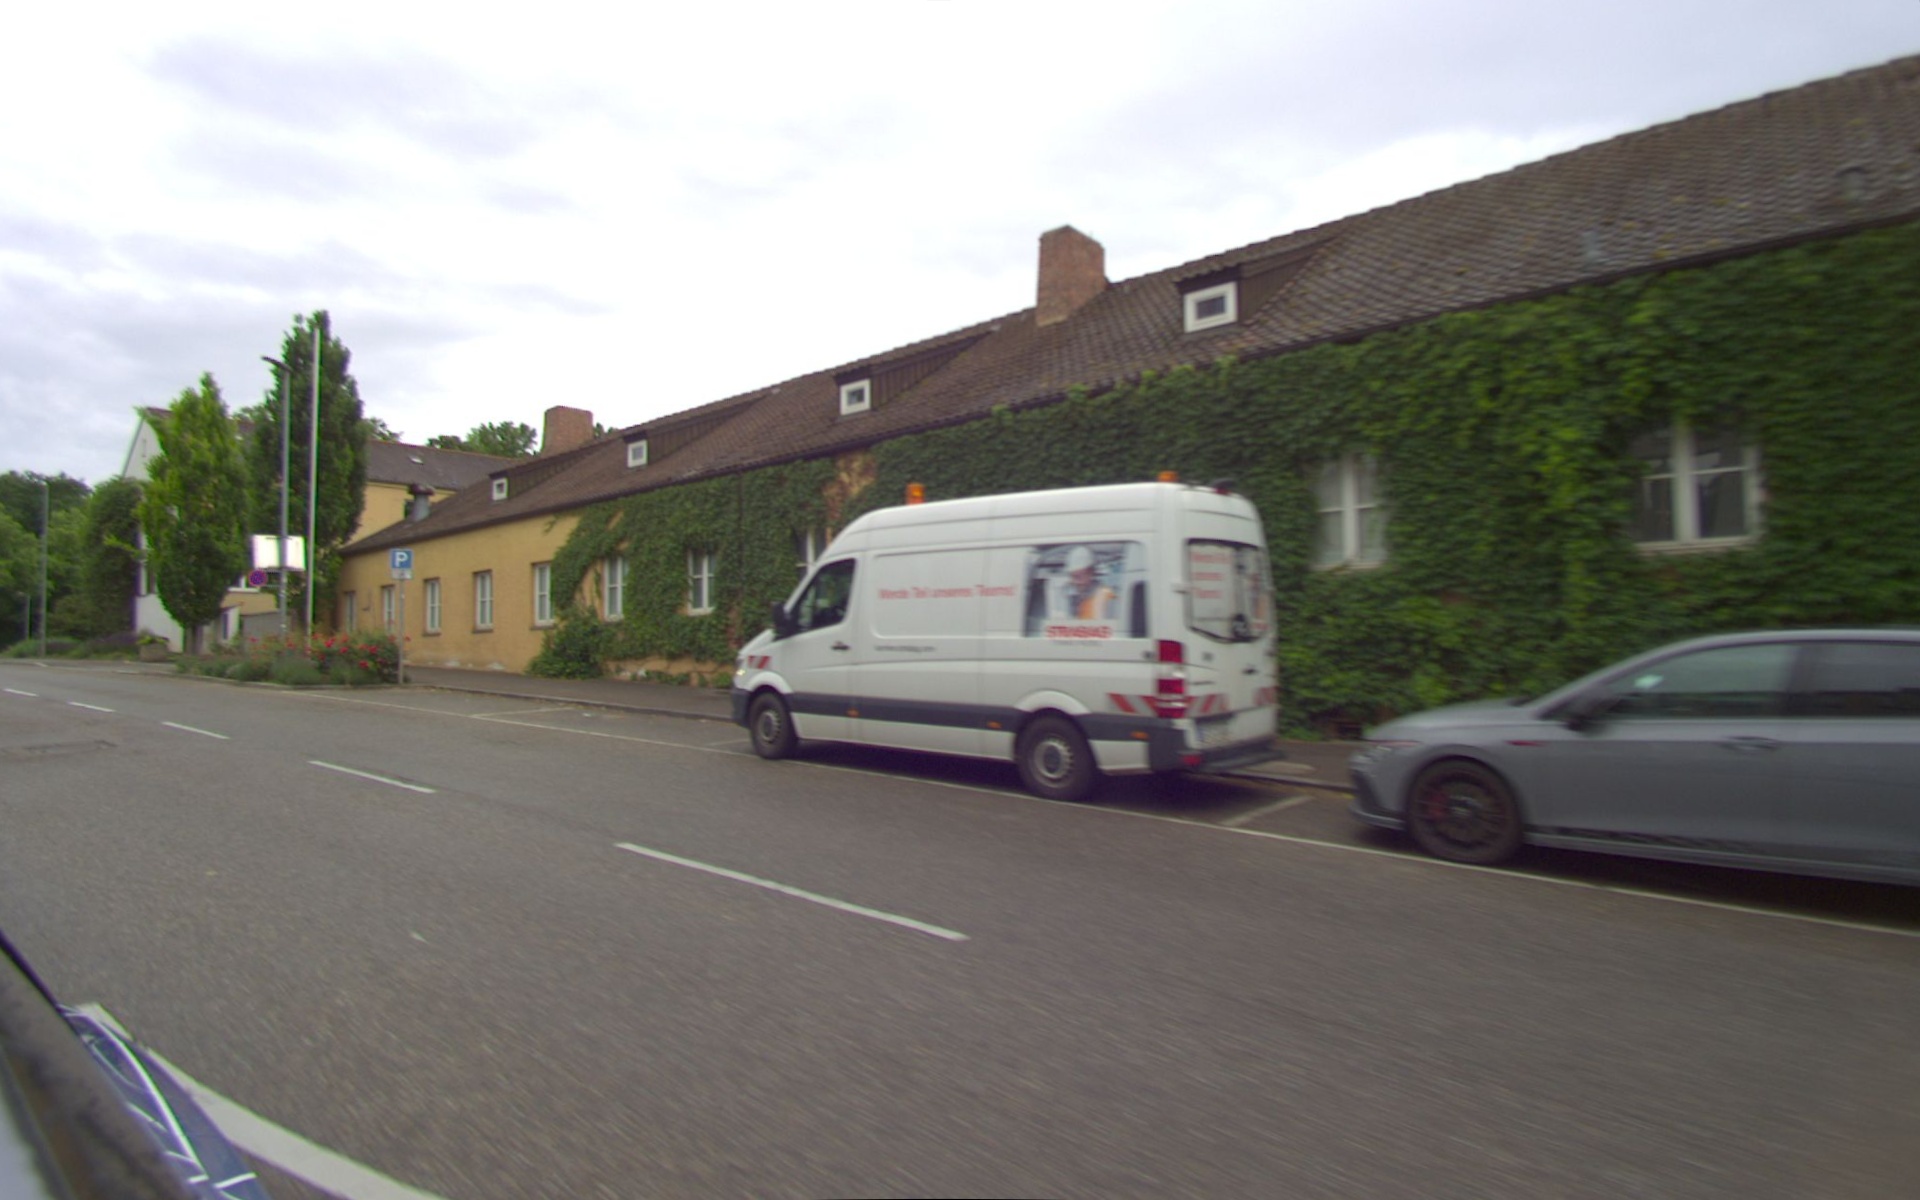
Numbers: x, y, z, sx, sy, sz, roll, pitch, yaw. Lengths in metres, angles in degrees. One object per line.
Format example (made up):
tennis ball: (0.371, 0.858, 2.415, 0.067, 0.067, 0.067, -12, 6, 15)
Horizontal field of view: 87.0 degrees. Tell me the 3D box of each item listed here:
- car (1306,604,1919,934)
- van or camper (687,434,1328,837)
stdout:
car: (4.570, 0.798, 5.892, 4.422, 1.524, 1.972, -1, -1, 42)
van or camper: (0.094, 0.328, 9.899, 6.138, 2.786, 2.316, -2, -2, 41)
